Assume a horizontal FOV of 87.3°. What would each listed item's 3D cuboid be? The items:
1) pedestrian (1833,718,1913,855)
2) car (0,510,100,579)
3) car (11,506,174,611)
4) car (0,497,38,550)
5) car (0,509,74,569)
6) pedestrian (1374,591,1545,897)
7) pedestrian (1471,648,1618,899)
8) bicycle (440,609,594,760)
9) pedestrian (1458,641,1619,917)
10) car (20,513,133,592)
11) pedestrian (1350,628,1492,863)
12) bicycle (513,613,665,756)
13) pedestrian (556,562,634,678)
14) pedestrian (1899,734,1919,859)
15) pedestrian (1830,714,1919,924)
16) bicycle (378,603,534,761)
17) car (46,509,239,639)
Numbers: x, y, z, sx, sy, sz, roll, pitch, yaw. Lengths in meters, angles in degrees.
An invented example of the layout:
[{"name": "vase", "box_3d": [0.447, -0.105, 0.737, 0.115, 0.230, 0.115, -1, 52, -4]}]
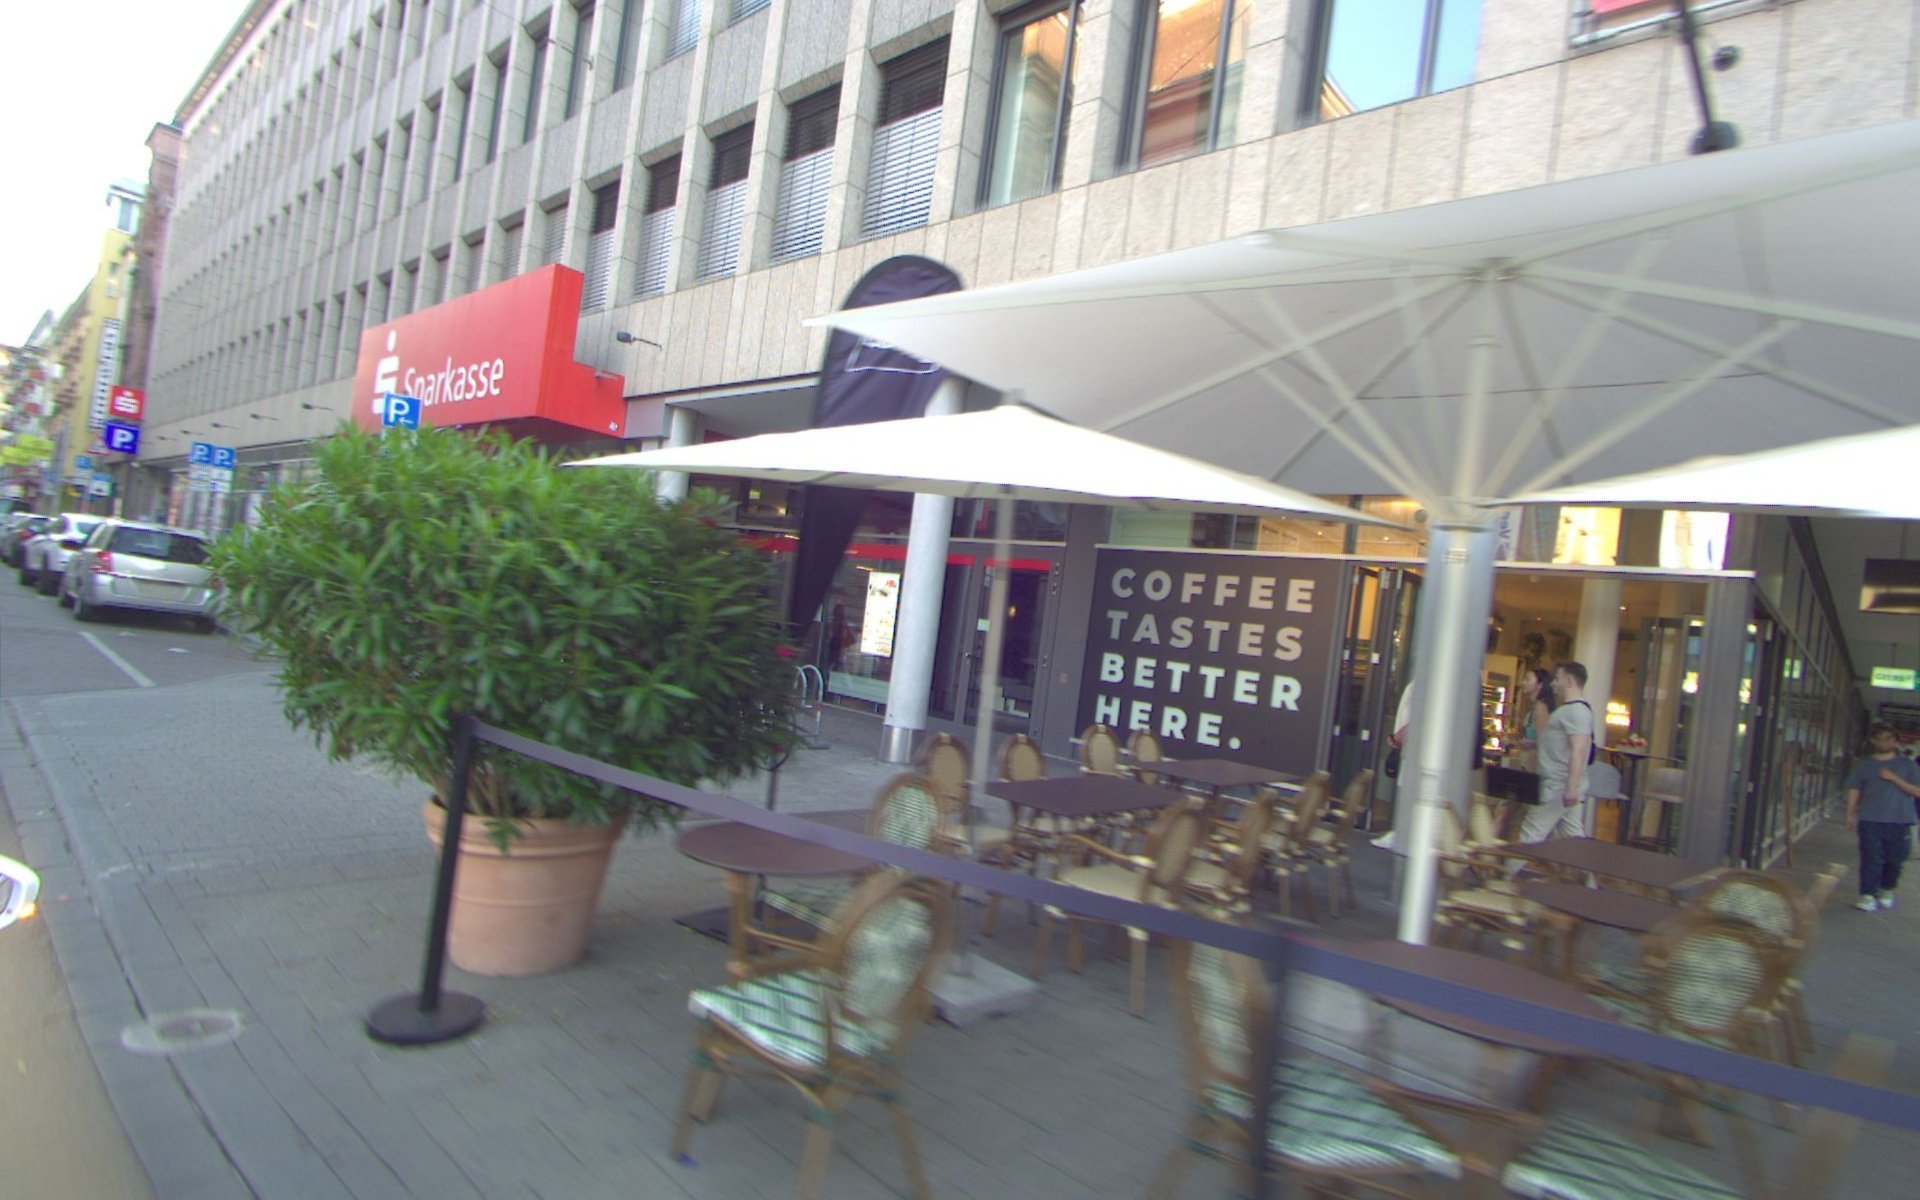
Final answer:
[{"name": "pedestrian", "box_3d": [13.827, 2.797, 15.248, 0.680, 1.905, 0.770, 8, 0, 43]}, {"name": "car", "box_3d": [-25.341, -1.558, 27.986, 3.241, 1.539, 1.643, 6, -4, 43]}, {"name": "car", "box_3d": [-17.750, -0.877, 20.533, 4.032, 1.653, 1.770, 6, -4, 41]}, {"name": "car", "box_3d": [-41.440, -3.405, 43.496, 3.716, 2.040, 1.869, 6, -4, 43]}, {"name": "car", "box_3d": [-29.703, -1.978, 32.145, 3.241, 1.539, 1.643, 6, -4, 43]}, {"name": "pedestrian", "box_3d": [3.643, 1.018, 7.336, 0.679, 2.038, 0.778, 8, 0, 44]}, {"name": "pedestrian", "box_3d": [4.641, 1.345, 7.986, 0.656, 1.808, 0.715, 8, 0, 44]}, {"name": "bicycle", "box_3d": [-3.821, 0.684, 8.608, 1.663, 1.054, 0.557, 6, 0, 45]}, {"name": "pedestrian", "box_3d": [4.206, 1.264, 7.313, 0.656, 1.808, 0.715, 8, 0, 44]}, {"name": "car", "box_3d": [-21.797, -1.200, 24.780, 3.241, 1.539, 1.643, 6, -4, 43]}, {"name": "pedestrian", "box_3d": [3.986, 1.240, 8.703, 0.714, 1.870, 0.657, 8, 0, -41]}, {"name": "bicycle", "box_3d": [-3.383, 0.731, 9.088, 1.663, 1.054, 0.557, 6, 0, 45]}, {"name": "pedestrian", "box_3d": [-5.630, 0.319, 15.529, 0.683, 1.682, 0.704, 7, 0, 24]}, {"name": "pedestrian", "box_3d": [14.120, 2.871, 14.569, 0.576, 1.774, 0.770, 8, 0, 43]}, {"name": "pedestrian", "box_3d": [8.453, 1.971, 9.195, 0.564, 1.752, 0.614, 8, 0, 43]}, {"name": "bicycle", "box_3d": [-4.151, 0.632, 8.223, 1.663, 1.054, 0.557, 6, 0, 45]}, {"name": "car", "box_3d": [-13.532, -0.482, 16.570, 3.998, 1.653, 1.769, 6, -4, 43]}]
